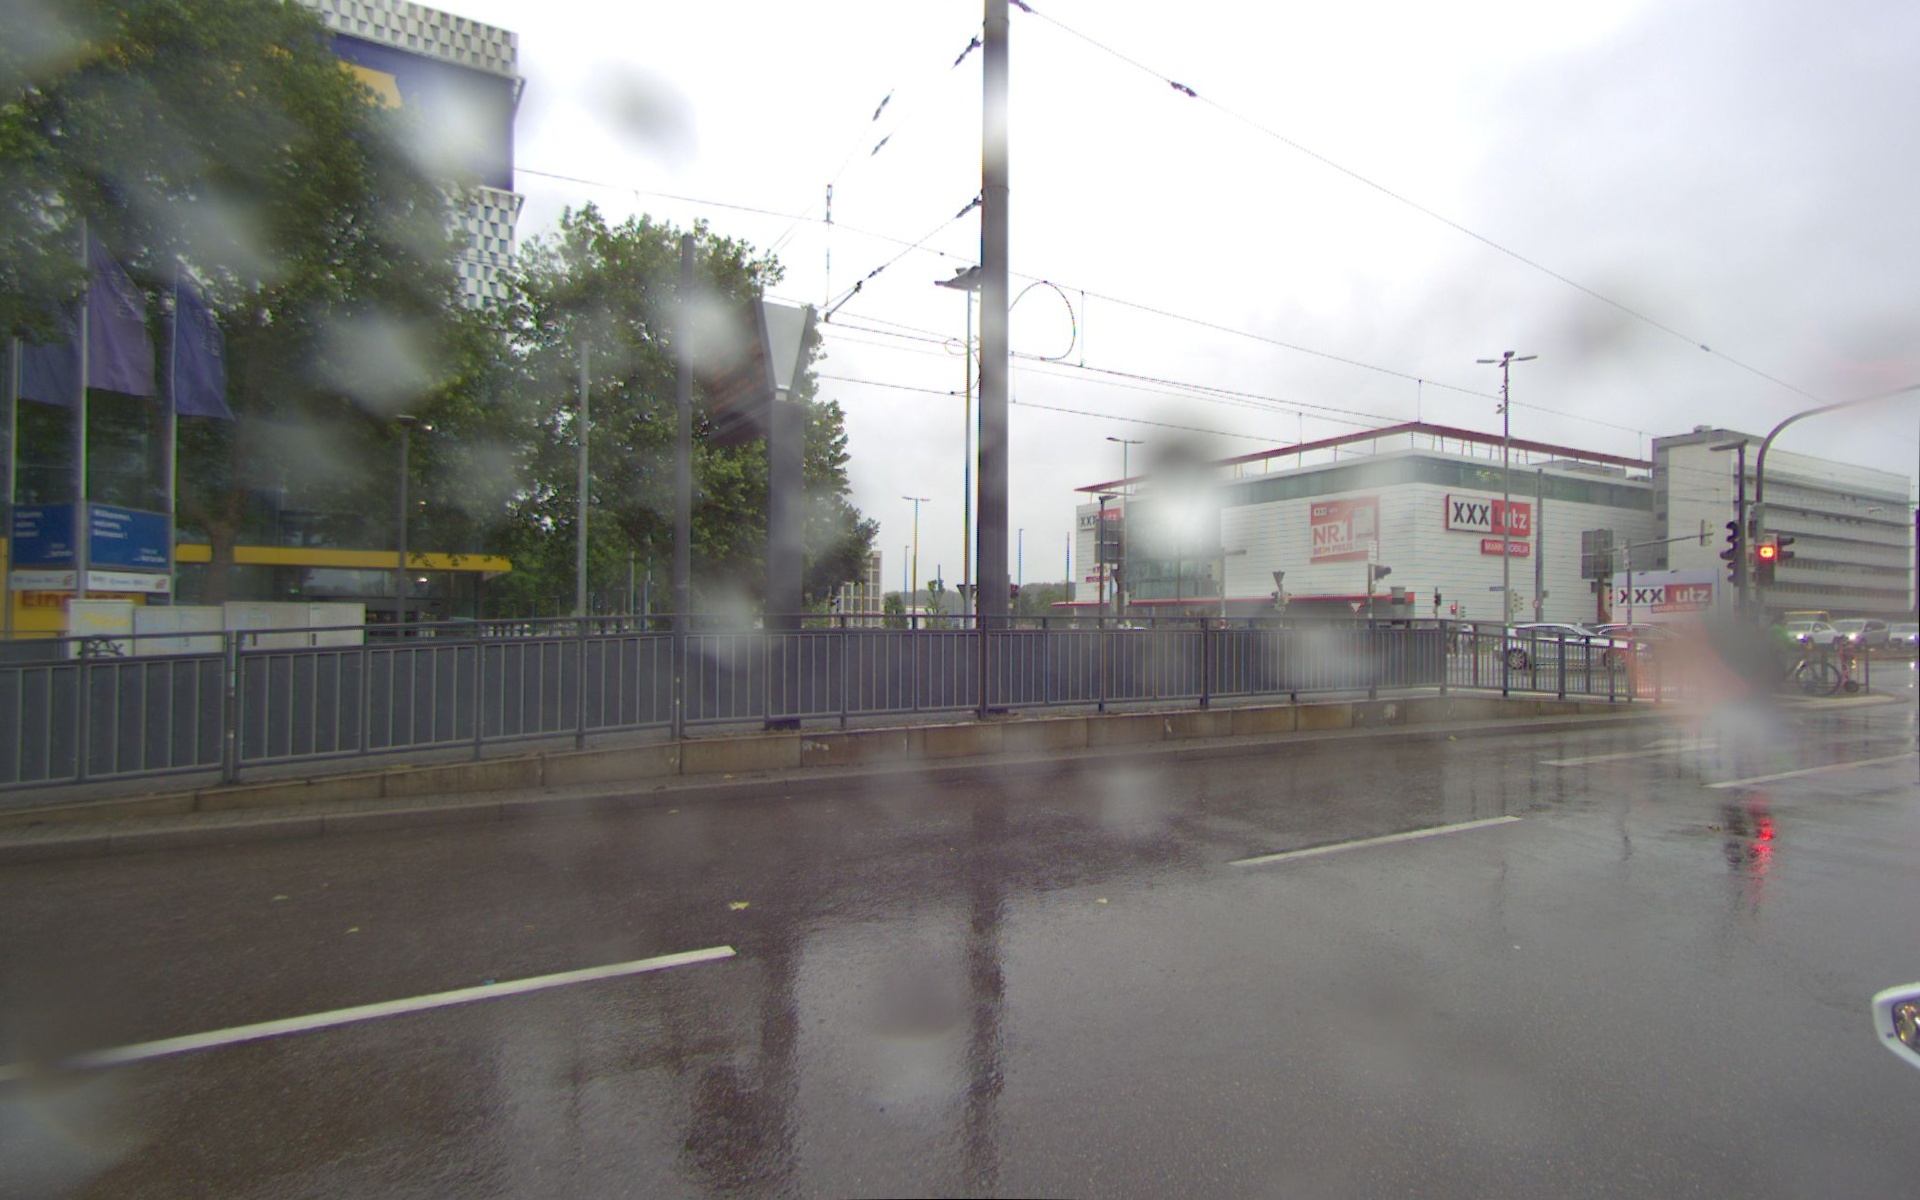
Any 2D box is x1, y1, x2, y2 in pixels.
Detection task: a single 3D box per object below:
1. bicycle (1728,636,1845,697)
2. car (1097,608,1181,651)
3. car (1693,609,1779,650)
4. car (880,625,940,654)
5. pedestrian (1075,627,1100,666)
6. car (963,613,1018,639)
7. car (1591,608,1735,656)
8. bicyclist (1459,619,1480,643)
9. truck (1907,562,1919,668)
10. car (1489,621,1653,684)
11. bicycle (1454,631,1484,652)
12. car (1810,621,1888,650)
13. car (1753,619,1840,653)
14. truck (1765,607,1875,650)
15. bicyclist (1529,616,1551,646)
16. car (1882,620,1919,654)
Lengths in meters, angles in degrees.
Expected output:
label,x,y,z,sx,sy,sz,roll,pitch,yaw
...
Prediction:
label,x,y,z,sx,sy,sz,roll,pitch,yaw
bicycle,16.743,1.328,20.403,0.409,1.048,1.742,2,3,-31
car,9.187,1.475,51.798,1.976,2.040,4.295,2,0,-29
car,40.392,1.535,52.297,3.947,2.040,1.987,2,0,-26
car,-3.396,2.646,67.567,1.983,1.656,4.169,1,2,-39
pedestrian,5.235,1.908,41.237,0.863,1.557,0.560,2,0,-31
car,2.160,1.821,70.209,3.723,1.645,2.001,2,0,2
car,23.745,1.050,33.990,1.827,1.429,3.695,2,0,-43
bicyclist,24.995,1.534,49.294,0.639,1.149,0.681,2,0,-29
truck,29.113,0.472,25.398,7.003,2.854,2.641,1,0,19
car,18.711,1.554,30.872,4.025,1.682,1.610,1,0,45
bicycle,24.959,2.041,49.265,1.688,1.000,0.448,2,0,-30
car,44.829,1.799,50.656,3.780,1.354,1.582,2,0,-26
car,39.715,1.697,47.668,3.823,1.512,1.693,2,0,-25
truck,49.228,1.649,57.444,7.542,2.309,2.341,2,0,-30
bicyclist,28.680,1.538,49.658,0.639,1.483,0.681,2,0,-29
car,51.361,1.970,53.610,3.947,1.722,1.886,2,0,-26
